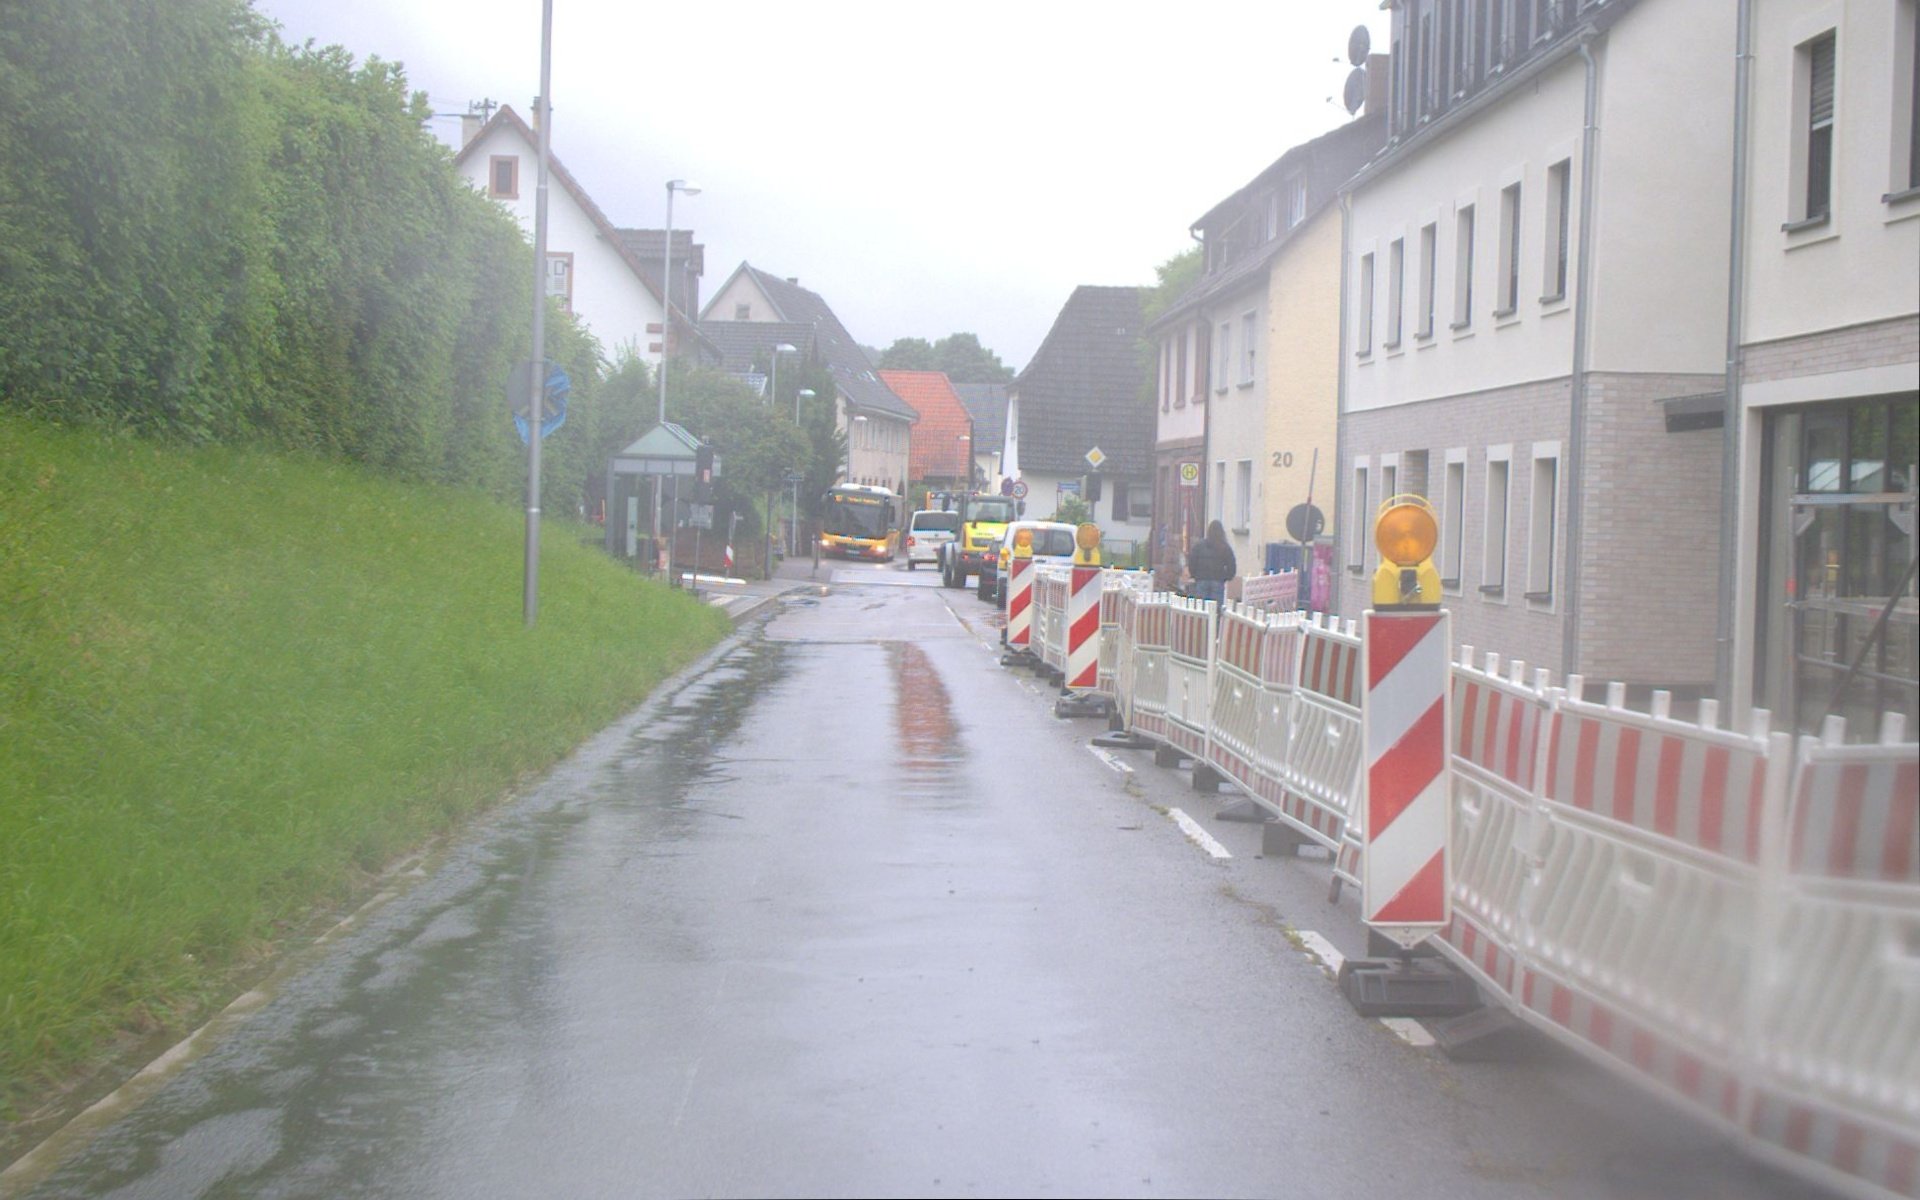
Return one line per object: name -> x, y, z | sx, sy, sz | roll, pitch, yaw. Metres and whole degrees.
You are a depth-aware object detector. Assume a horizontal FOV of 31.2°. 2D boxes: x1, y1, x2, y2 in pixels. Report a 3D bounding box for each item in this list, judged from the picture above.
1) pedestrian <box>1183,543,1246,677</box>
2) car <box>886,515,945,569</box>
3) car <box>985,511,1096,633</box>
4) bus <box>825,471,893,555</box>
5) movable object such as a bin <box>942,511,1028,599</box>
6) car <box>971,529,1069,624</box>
pedestrian -> 3.408, 0.130, 46.101 | 0.665, 1.749, 0.812 | 3, 1, -2
car -> -1.469, -1.908, 113.101 | 1.818, 1.636, 4.096 | 3, 1, -1
car -> 1.655, -0.592, 71.966 | 1.993, 2.367, 4.096 | 3, 1, -1
bus -> -3.952, -3.389, 135.992 | 2.241, 3.092, 7.030 | 3, 1, 0
movable object such as a bin -> 0.630, -1.191, 91.091 | 1.993, 2.165, 4.000 | 3, 1, -2
car -> 1.346, -0.546, 78.634 | 1.993, 2.007, 4.000 | 3, 1, -1
